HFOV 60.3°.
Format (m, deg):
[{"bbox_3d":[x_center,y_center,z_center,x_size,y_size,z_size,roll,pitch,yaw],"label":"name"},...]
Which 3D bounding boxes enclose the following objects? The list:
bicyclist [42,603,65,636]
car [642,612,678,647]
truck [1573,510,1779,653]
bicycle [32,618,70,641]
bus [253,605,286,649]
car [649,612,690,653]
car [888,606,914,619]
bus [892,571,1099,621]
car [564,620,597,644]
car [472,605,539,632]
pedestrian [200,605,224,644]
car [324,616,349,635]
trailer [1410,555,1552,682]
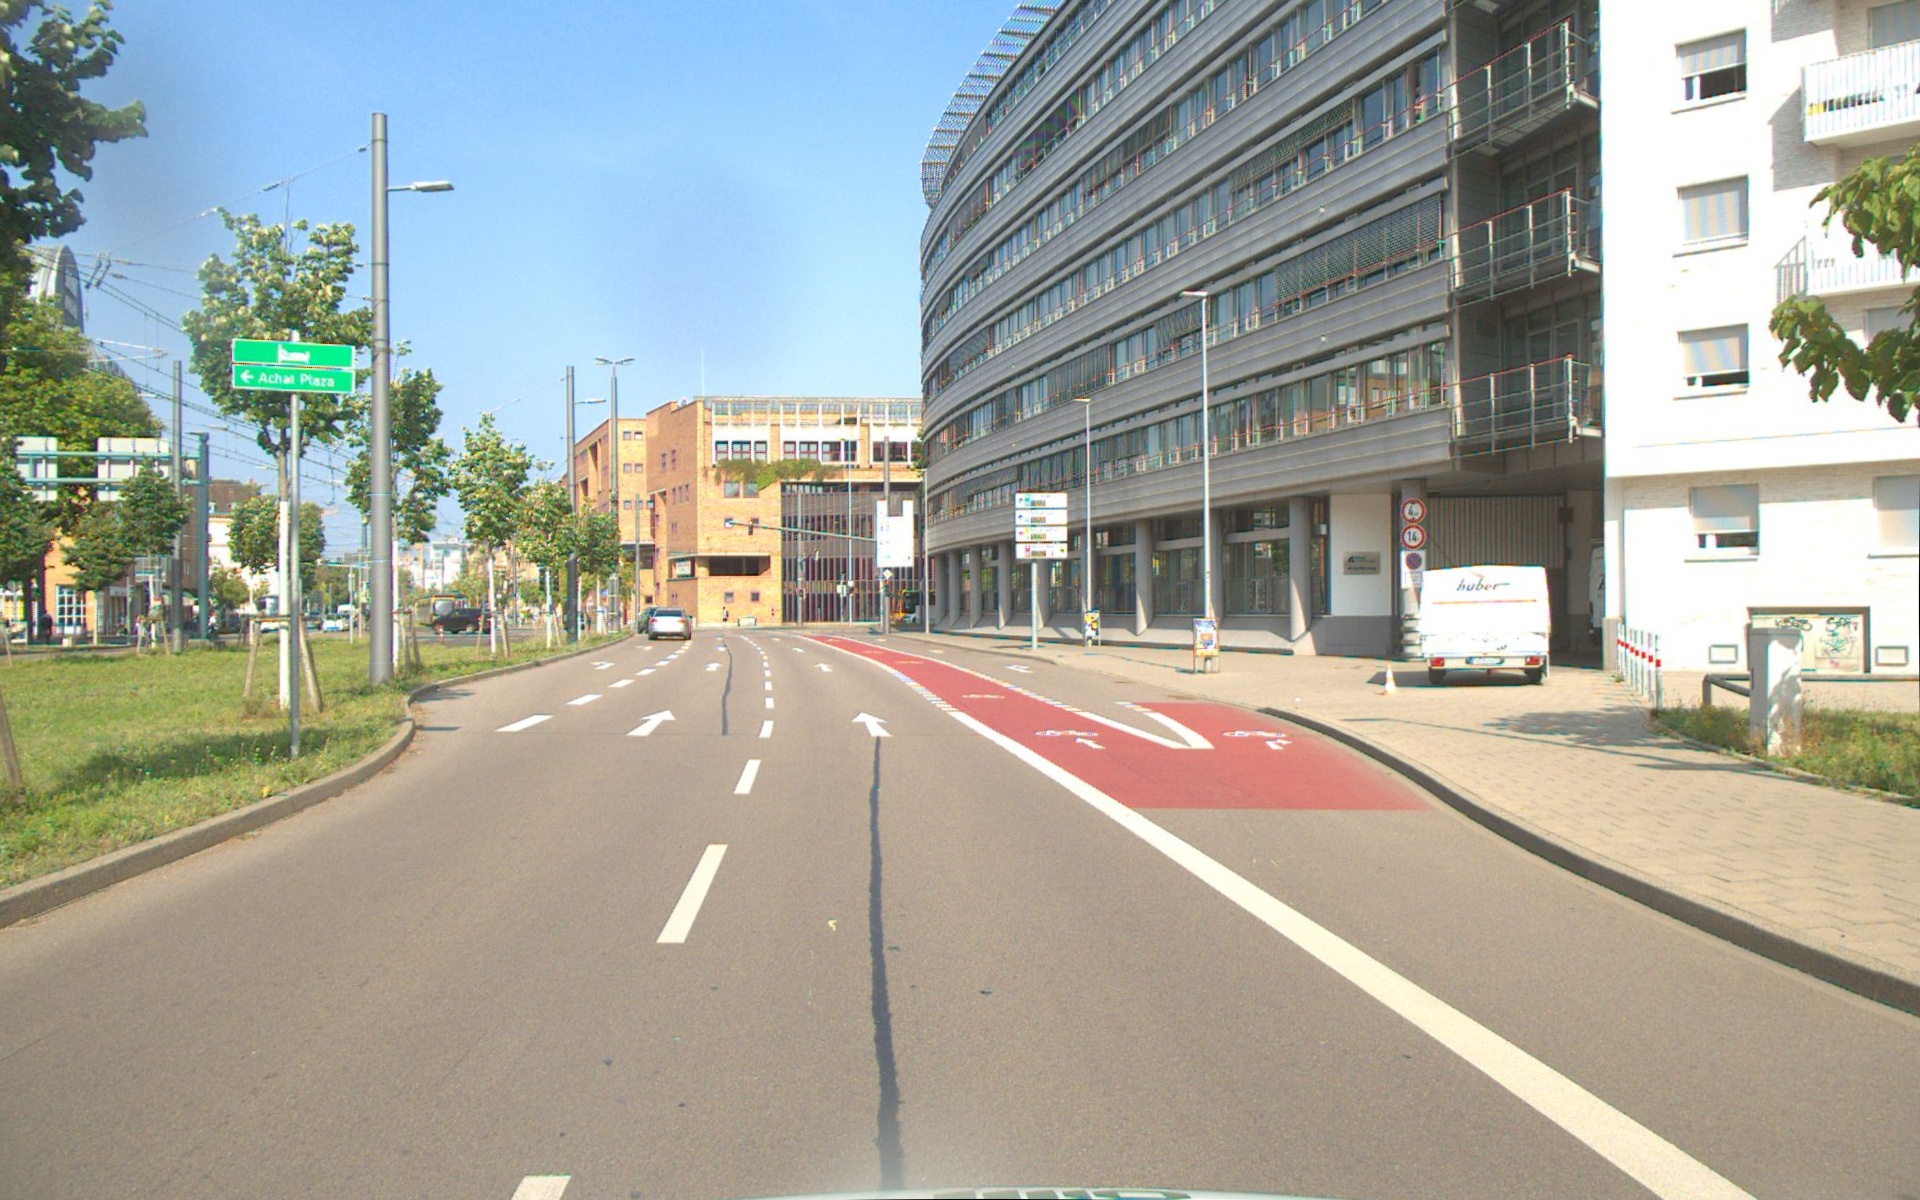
[{"bbox_3d":[-50.711,1.102,92.527,0.944,1.777,0.667,-2,-2,19],"label":"bicyclist"},{"bbox_3d":[-18.213,1.806,100.568,1.957,2.049,4.233,-1,-2,-9],"label":"car"},{"bbox_3d":[17.974,-0.514,41.334,6.092,3.150,1.972,-5,1,-39],"label":"truck"},{"bbox_3d":[-50.871,1.664,92.560,2.232,1.228,0.550,-2,-2,20],"label":"bicycle"},{"bbox_3d":[-67.189,2.675,161.100,2.708,3.990,12.134,0,-2,-22],"label":"bus"},{"bbox_3d":[-13.248,1.496,75.583,1.673,1.786,3.882,-1,-2,-8],"label":"car"},{"bbox_3d":[-4.808,1.009,134.788,1.916,0.975,1.091,1,-3,-10],"label":"car"},{"bbox_3d":[3.035,-0.360,140.168,17.289,3.877,2.858,-1,-2,-10],"label":"bus"},{"bbox_3d":[-34.429,2.936,150.053,1.971,2.049,3.962,0,-2,-28],"label":"car"},{"bbox_3d":[-31.048,1.272,112.983,1.965,1.708,3.974,-3,-2,43],"label":"car"},{"bbox_3d":[-39.982,1.315,88.429,1.139,2.049,0.771,0,-2,-23],"label":"pedestrian"},{"bbox_3d":[-52.235,2.147,138.535,1.702,1.569,3.430,-1,-2,-17],"label":"car"},{"bbox_3d":[9.954,0.323,31.647,2.339,2.189,5.952,-1,0,18],"label":"trailer"}]
